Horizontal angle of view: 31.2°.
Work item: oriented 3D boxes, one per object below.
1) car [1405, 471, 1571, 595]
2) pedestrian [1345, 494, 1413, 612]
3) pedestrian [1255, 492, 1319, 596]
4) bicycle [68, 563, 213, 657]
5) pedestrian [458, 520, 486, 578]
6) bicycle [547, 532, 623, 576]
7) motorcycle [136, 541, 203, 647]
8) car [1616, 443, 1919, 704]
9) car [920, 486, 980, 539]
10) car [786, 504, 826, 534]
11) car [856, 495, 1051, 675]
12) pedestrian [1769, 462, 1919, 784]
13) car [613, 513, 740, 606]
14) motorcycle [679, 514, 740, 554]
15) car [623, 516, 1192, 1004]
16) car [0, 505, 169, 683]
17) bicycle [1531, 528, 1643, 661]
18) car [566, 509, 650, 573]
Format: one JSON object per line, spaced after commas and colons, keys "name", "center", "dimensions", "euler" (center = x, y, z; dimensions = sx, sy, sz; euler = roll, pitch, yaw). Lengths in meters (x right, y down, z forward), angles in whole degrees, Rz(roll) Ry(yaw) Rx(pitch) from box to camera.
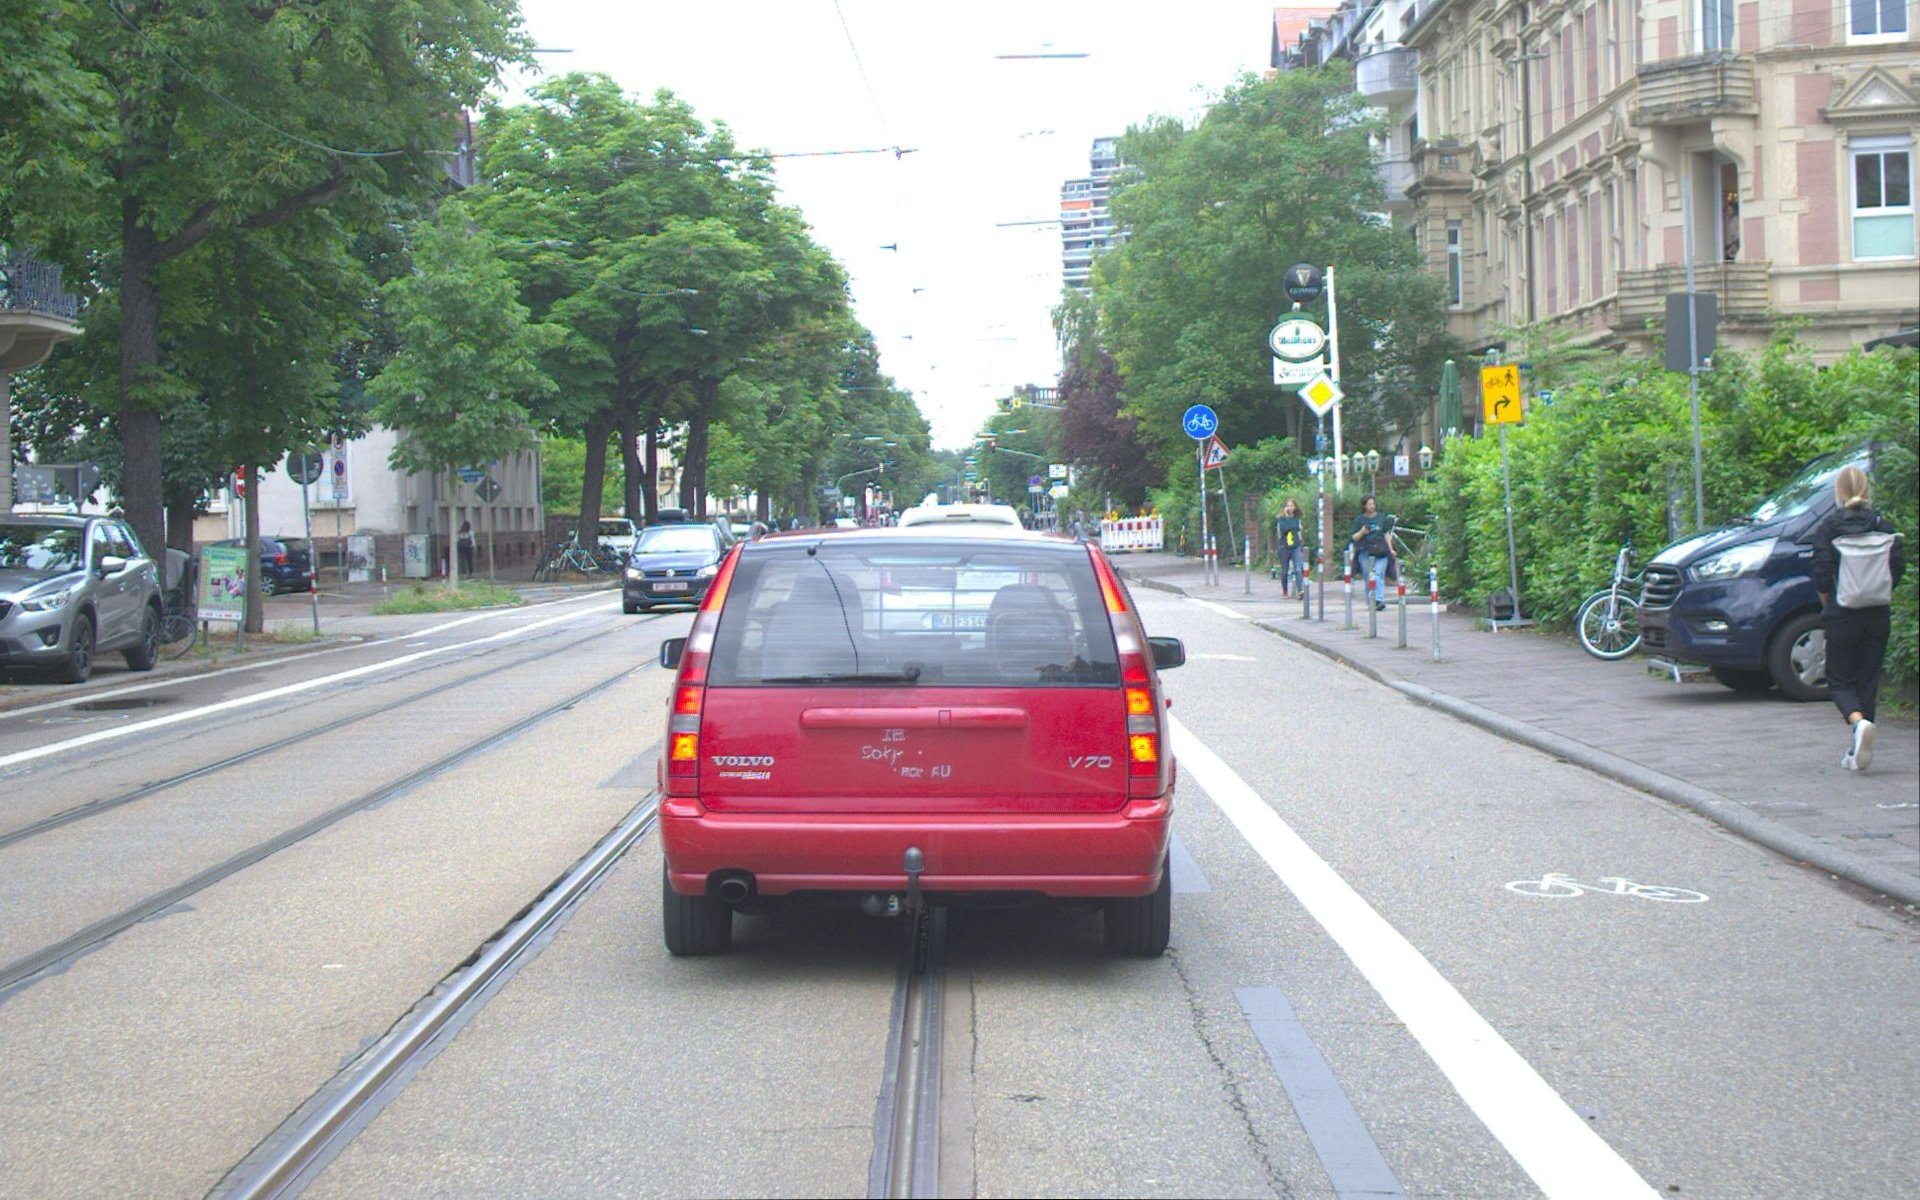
{"name": "car", "center": [8.602, -1.123, 55.673], "dimensions": [2.053, 1.871, 5.026], "euler": [-1, 2, 15]}
{"name": "pedestrian", "center": [5.946, -0.669, 48.822], "dimensions": [0.793, 1.630, 0.836], "euler": [-3, 1, 0]}
{"name": "pedestrian", "center": [5.295, -0.917, 55.662], "dimensions": [0.873, 1.650, 0.908], "euler": [-1, 1, 13]}
{"name": "bicycle", "center": [-9.358, 0.107, 39.307], "dimensions": [1.376, 1.001, 0.930], "euler": [2, 2, 4]}
{"name": "pedestrian", "center": [-12.522, -1.300, 88.173], "dimensions": [0.564, 1.462, 0.723], "euler": [-2, 1, 0]}
{"name": "bicycle", "center": [-9.772, -1.199, 89.652], "dimensions": [1.922, 1.117, 0.624], "euler": [0, 1, 0]}
{"name": "motorcycle", "center": [-9.782, -0.090, 42.603], "dimensions": [0.539, 1.253, 2.143], "euler": [-1, 1, -6]}
{"name": "car", "center": [7.187, -0.258, 25.500], "dimensions": [4.281, 1.803, 1.823], "euler": [-2, 2, 2]}
{"name": "car", "center": [-0.327, -2.766, 108.688], "dimensions": [1.741, 1.600, 4.001], "euler": [-1, 1, -2]}
{"name": "car", "center": [-8.013, -4.225, 179.351], "dimensions": [1.851, 1.557, 3.943], "euler": [-1, 1, 0]}
{"name": "car", "center": [-0.010, -0.184, 33.482], "dimensions": [1.719, 1.619, 3.941], "euler": [-1, 1, 2]}
{"name": "pedestrian", "center": [4.881, 0.110, 18.687], "dimensions": [0.623, 1.665, 0.960], "euler": [-4, 1, -1]}
{"name": "car", "center": [-4.563, -0.681, 55.725], "dimensions": [1.729, 1.404, 3.656], "euler": [-2, 2, 0]}
{"name": "motorcycle", "center": [-9.792, -2.581, 134.428], "dimensions": [2.269, 1.506, 0.925], "euler": [-1, 0, 35]}
{"name": "car", "center": [-0.071, 0.435, 12.117], "dimensions": [1.689, 1.436, 3.743], "euler": [0, 2, 3]}
{"name": "car", "center": [-9.464, -0.119, 34.793], "dimensions": [1.837, 1.655, 4.293], "euler": [1, 2, 1]}
{"name": "bicycle", "center": [5.785, -0.065, 31.781], "dimensions": [0.632, 1.124, 1.812], "euler": [-4, 2, 0]}
{"name": "car", "center": [-9.561, -1.620, 93.625], "dimensions": [1.897, 1.650, 4.226], "euler": [-1, 1, -1]}
